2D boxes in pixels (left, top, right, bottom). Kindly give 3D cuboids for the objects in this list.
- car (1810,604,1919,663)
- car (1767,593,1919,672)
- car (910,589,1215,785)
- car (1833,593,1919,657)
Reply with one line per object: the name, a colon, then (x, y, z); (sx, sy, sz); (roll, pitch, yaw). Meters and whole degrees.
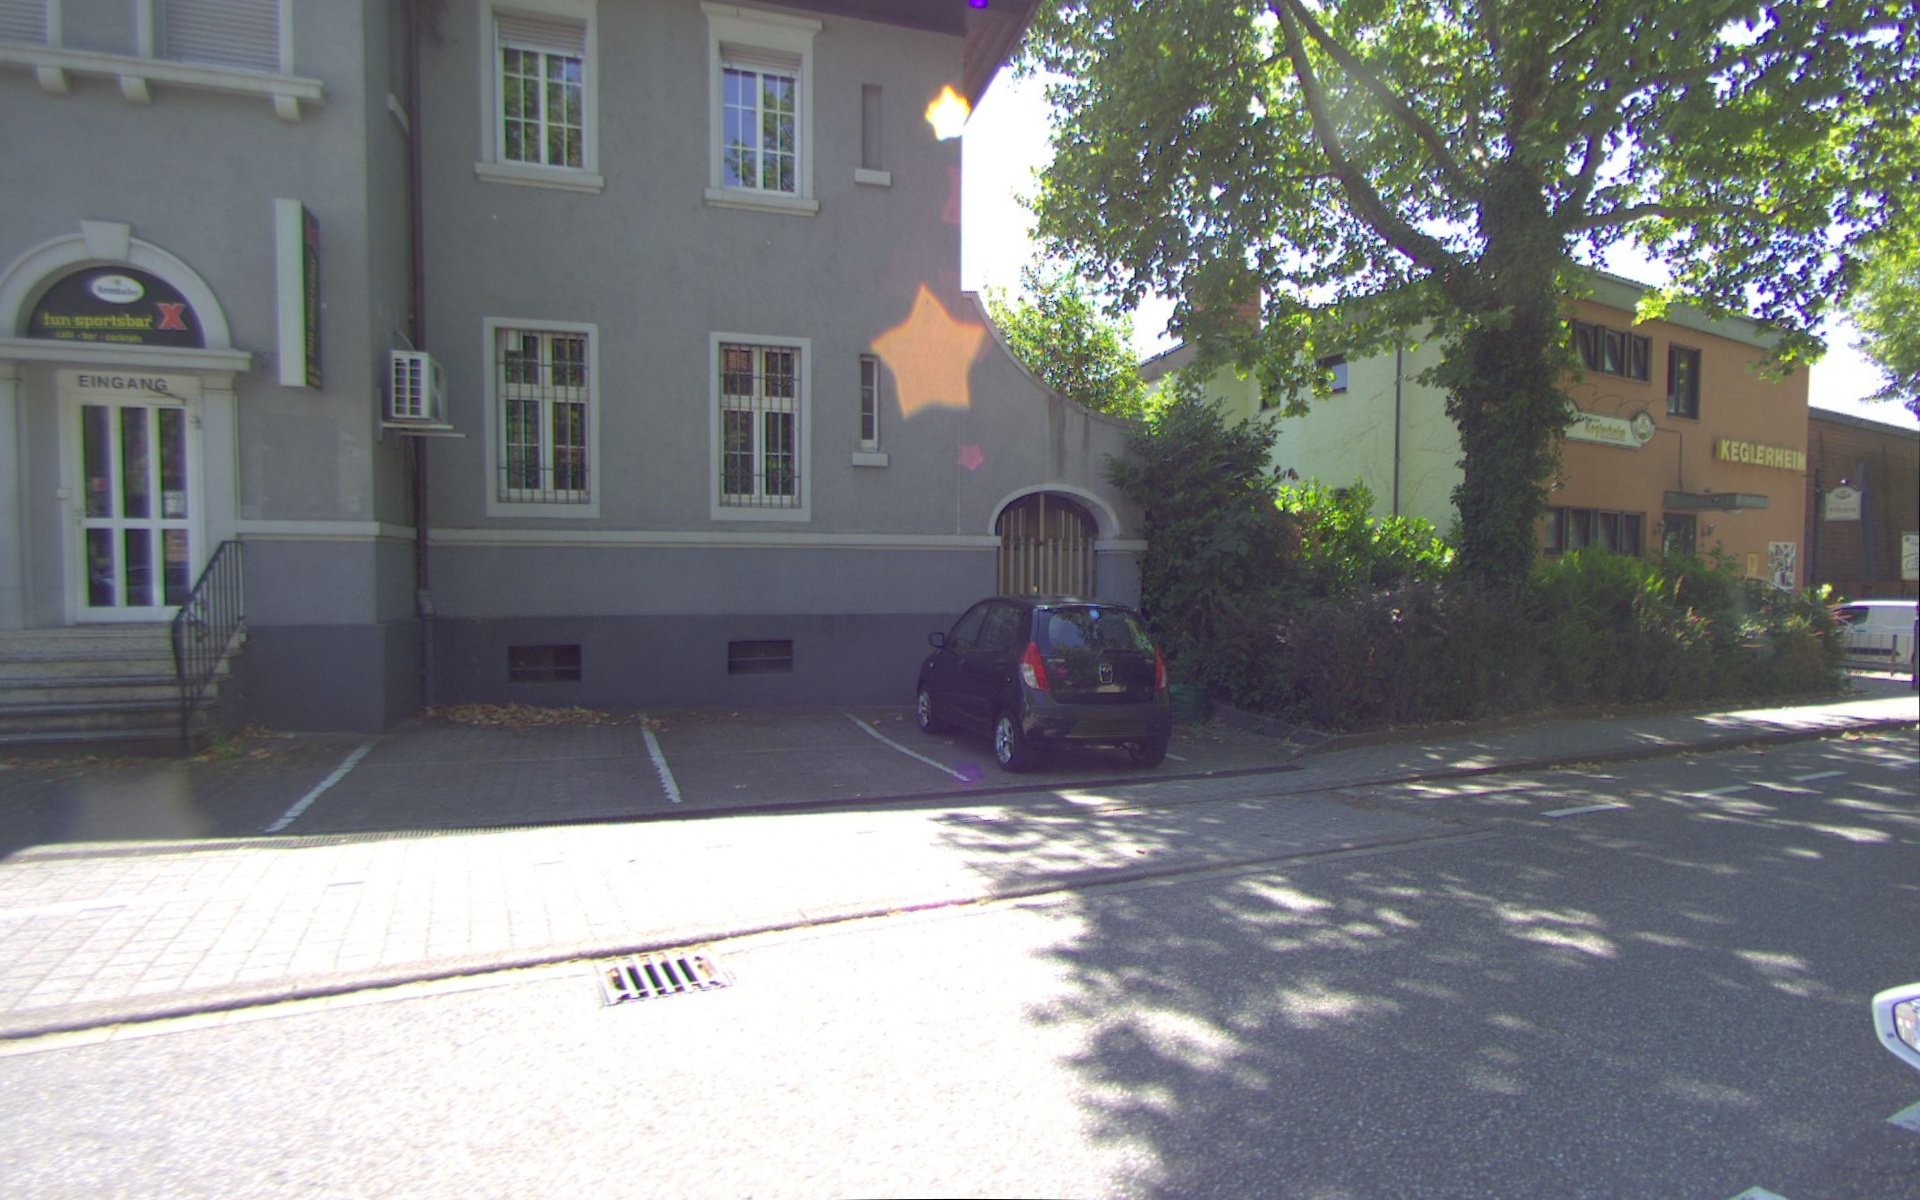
car: (27.782, 1.015, 29.438); (1.849, 1.536, 3.962); (1, 3, -34)
car: (24.239, 0.845, 26.668); (1.849, 1.817, 3.962); (1, 3, -34)
car: (0.832, 0.718, 10.084); (1.698, 1.567, 3.376); (1, 1, -21)
car: (29.963, 0.849, 30.798); (1.883, 1.828, 4.395); (1, 3, -34)
